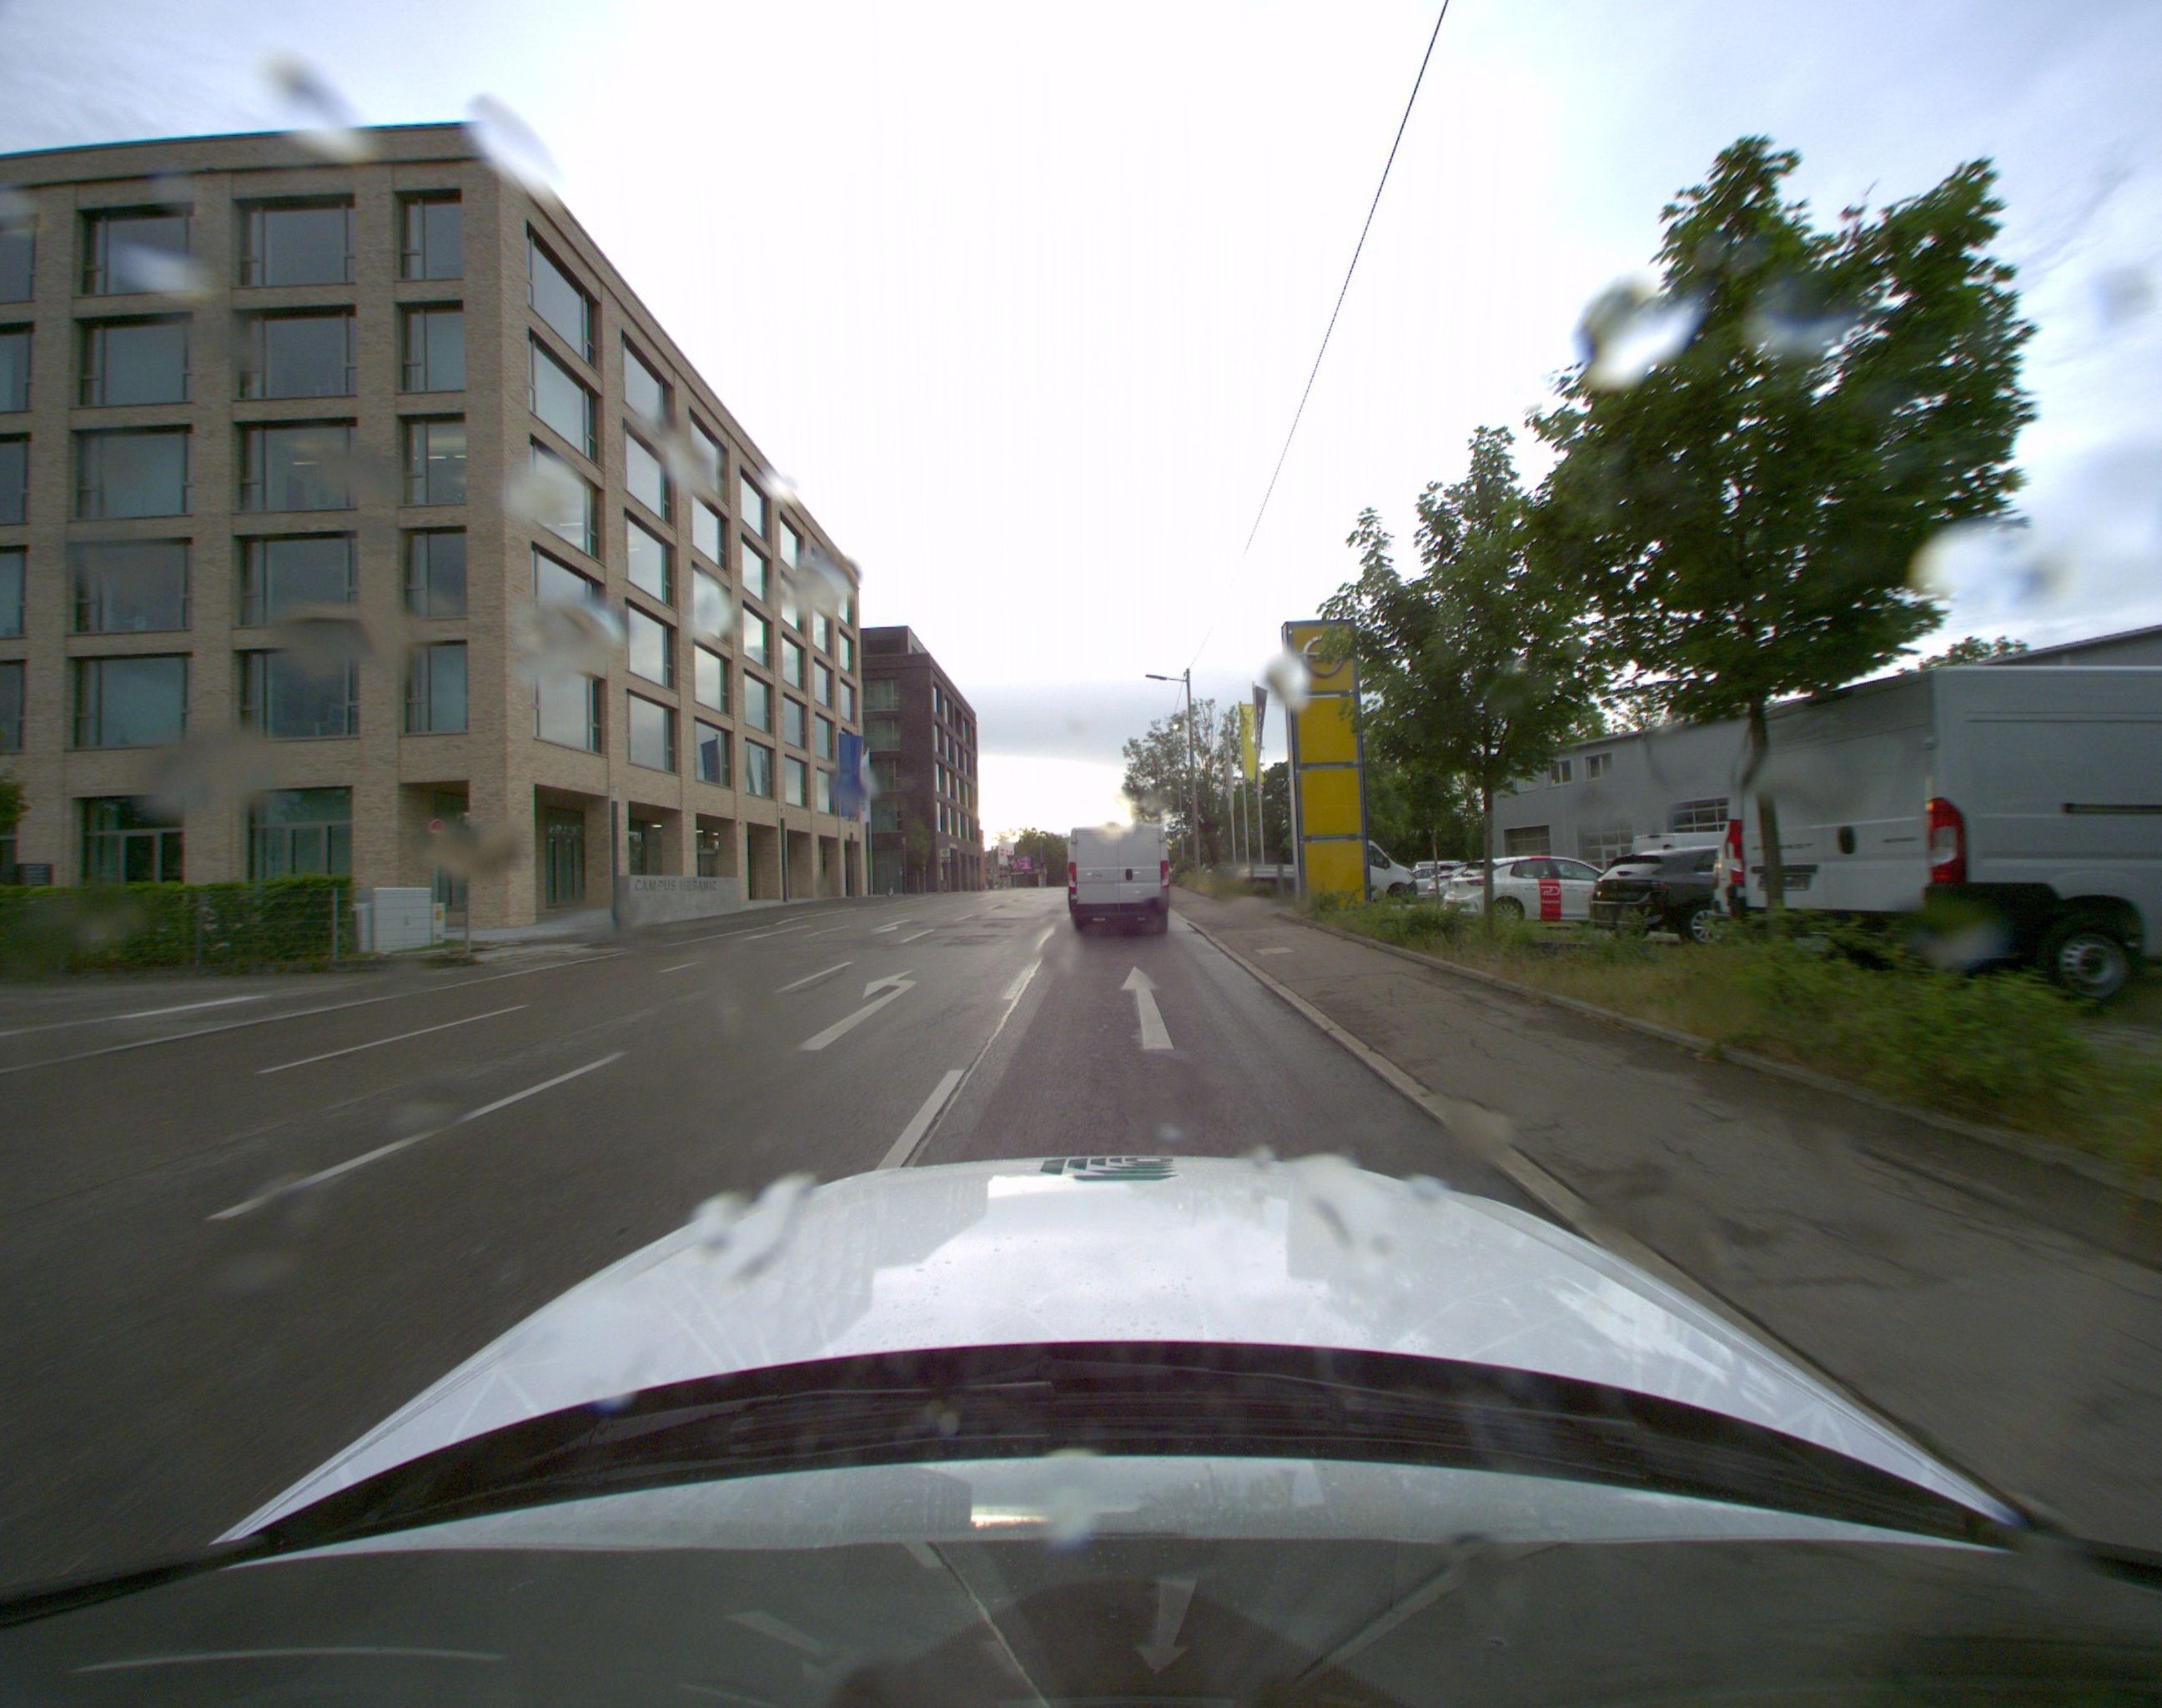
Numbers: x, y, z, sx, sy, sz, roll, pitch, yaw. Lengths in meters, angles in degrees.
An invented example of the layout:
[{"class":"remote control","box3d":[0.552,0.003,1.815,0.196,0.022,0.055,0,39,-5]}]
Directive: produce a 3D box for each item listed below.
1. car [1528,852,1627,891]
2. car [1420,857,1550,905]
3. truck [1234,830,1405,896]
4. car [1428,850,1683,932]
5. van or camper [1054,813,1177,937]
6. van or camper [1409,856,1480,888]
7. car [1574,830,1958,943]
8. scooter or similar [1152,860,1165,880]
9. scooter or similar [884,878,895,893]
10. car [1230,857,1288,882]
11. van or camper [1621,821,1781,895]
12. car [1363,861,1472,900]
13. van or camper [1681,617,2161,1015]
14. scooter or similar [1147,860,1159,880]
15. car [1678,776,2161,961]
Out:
[{"class":"car","box3d":[24.101,0.826,39.562,3.997,1.601,1.830,-4,0,-17]},{"class":"car","box3d":[13.819,0.901,27.977,3.676,1.519,1.558,-2,-1,2]},{"class":"truck","box3d":[7.990,0.287,27.686,5.132,2.013,2.344,-1,0,-1]},{"class":"car","box3d":[9.333,0.697,16.286,3.971,1.428,1.896,-2,0,2]},{"class":"van or camper","box3d":[0.796,0.415,18.441,2.330,2.357,5.203,-1,0,3]},{"class":"van or camper","box3d":[21.865,1.015,49.220,1.985,1.788,5.619,-1,0,3]},{"class":"car","box3d":[9.637,0.475,11.729,3.972,1.431,1.748,-1,-3,2]},{"class":"scooter or similar","box3d":[6.110,1.270,64.258,0.436,1.564,1.264,-1,0,-20]},{"class":"scooter or similar","box3d":[-13.309,2.201,56.701,0.349,1.072,1.429,-2,-2,3]},{"class":"car","box3d":[13.930,1.214,63.710,3.979,1.521,1.801,-6,-1,-4]},{"class":"van or camper","box3d":[24.406,0.131,32.098,5.280,2.489,2.275,-4,0,-16]},{"class":"car","box3d":[13.385,1.047,32.539,3.674,1.418,1.632,-2,-1,4]},{"class":"van or camper","box3d":[8.769,-0.313,6.795,5.716,2.724,2.353,-1,0,1]},{"class":"scooter or similar","box3d":[5.688,1.268,64.091,0.436,1.587,1.264,-1,0,-20]},{"class":"car","box3d":[9.707,0.200,9.415,4.109,1.847,1.844,-2,-3,3]}]
